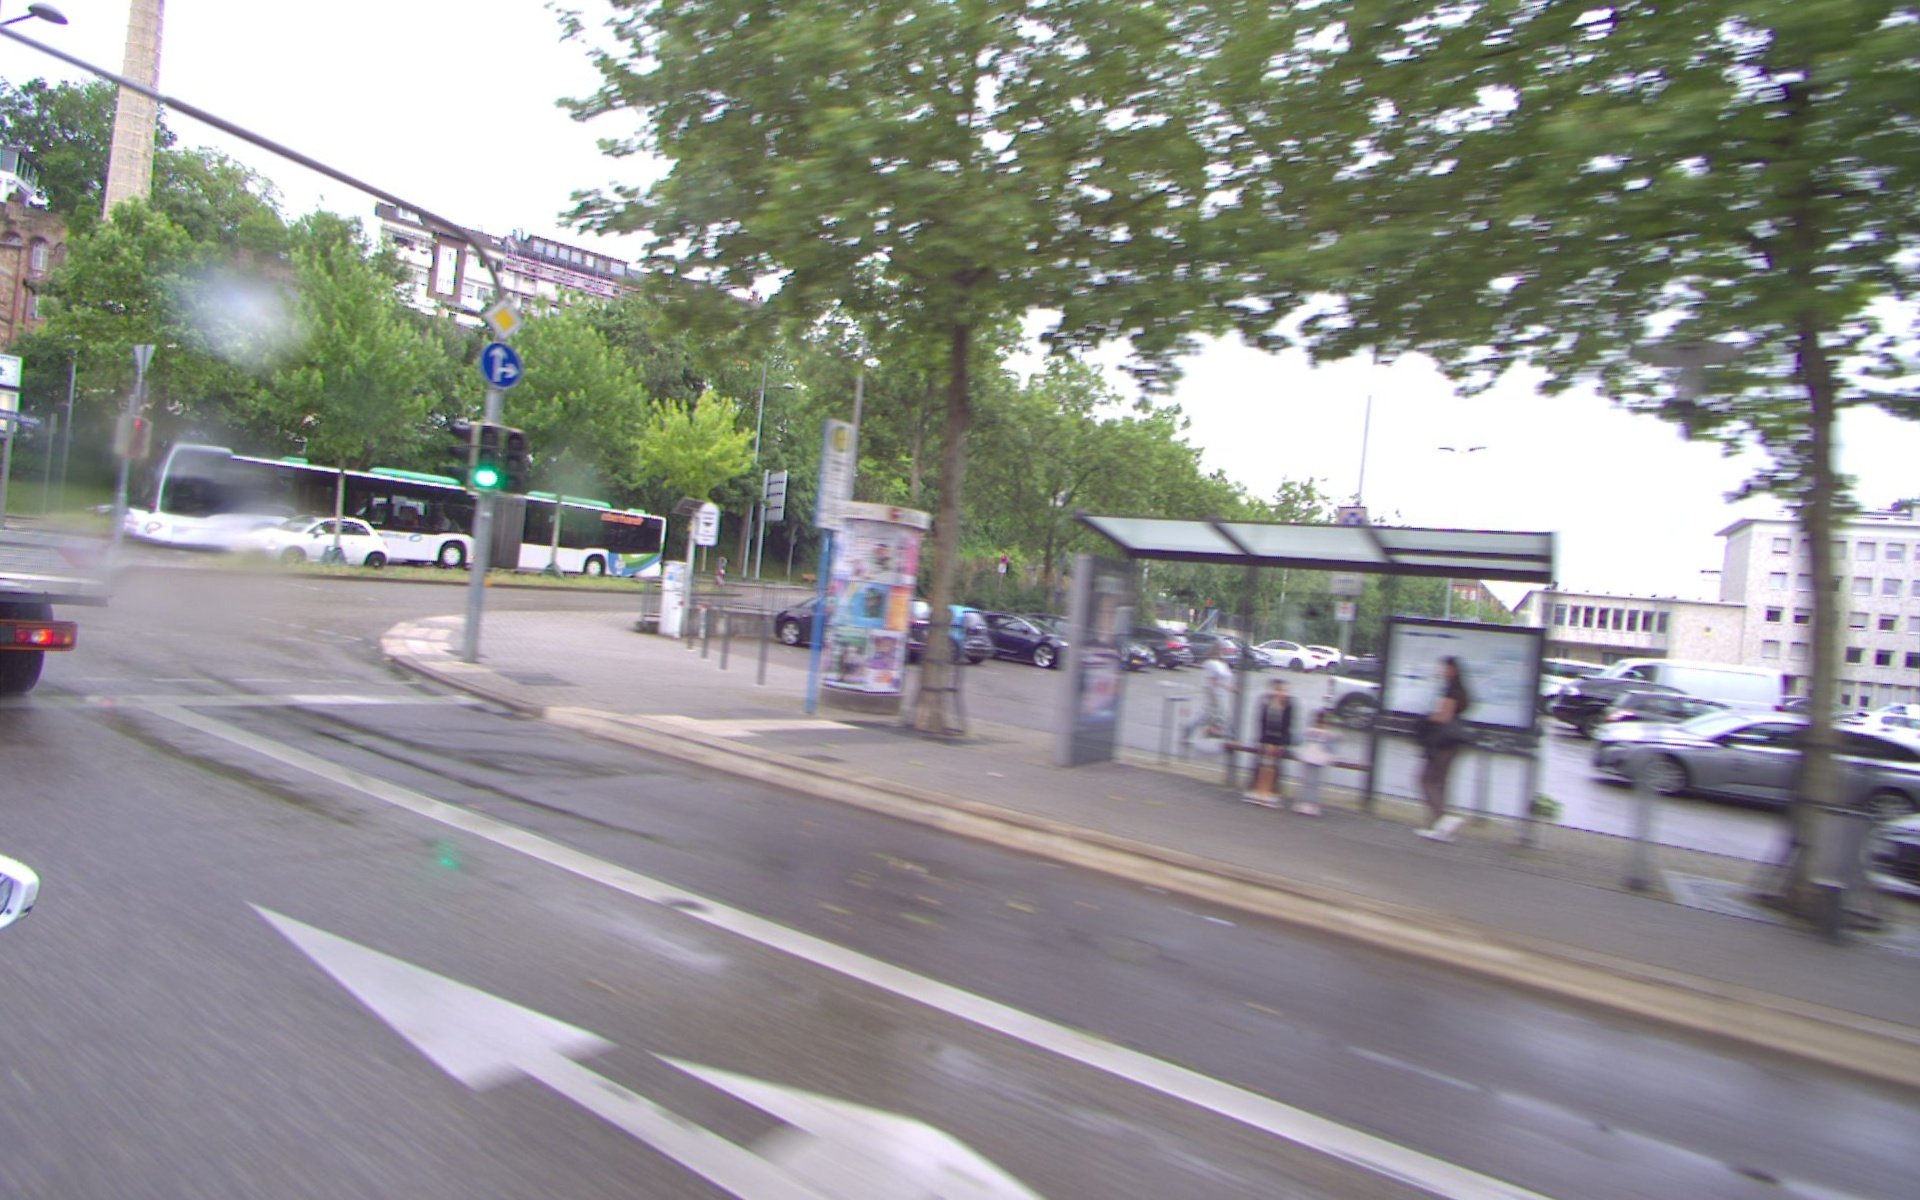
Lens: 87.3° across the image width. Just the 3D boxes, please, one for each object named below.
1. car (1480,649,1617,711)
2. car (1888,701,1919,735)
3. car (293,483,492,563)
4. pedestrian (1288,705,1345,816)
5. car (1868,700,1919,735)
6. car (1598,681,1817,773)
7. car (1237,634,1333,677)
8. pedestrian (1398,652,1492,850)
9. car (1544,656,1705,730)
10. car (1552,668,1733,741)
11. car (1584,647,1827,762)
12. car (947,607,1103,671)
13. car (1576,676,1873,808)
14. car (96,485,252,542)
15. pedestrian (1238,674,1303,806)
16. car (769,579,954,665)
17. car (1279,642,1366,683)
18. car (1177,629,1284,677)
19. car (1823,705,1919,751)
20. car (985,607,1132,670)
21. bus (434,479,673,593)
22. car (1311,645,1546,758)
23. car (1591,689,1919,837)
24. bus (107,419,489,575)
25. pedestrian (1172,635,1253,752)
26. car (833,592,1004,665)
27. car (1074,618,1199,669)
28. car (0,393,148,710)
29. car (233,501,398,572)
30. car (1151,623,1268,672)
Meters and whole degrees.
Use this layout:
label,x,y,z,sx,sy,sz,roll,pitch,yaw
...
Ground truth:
label,x,y,z,sx,sy,sz,roll,pitch,yaw
car,31.617,4.250,54.303,5.936,2.390,2.229,7,1,26
car,45.579,5.618,45.831,4.430,1.441,1.639,5,-2,27
car,-21.798,-2.912,38.855,6.295,2.263,2.229,5,1,-42
pedestrian,3.628,1.616,10.234,0.364,1.047,0.401,7,1,31
car,48.362,6.018,50.397,3.861,1.565,1.639,5,-2,27
car,15.280,2.563,20.782,3.297,1.252,1.530,7,1,28
car,16.605,2.830,51.500,4.200,1.697,1.849,6,0,39
pedestrian,4.520,1.375,9.370,0.546,1.717,0.540,7,1,32
car,22.927,3.160,34.936,4.287,1.854,1.831,7,1,27
car,17.409,2.637,25.872,3.570,1.252,1.530,7,1,28
car,20.595,2.809,28.110,4.923,2.349,1.971,7,2,25
car,1.927,1.166,30.104,4.189,1.371,1.854,6,0,29
car,13.770,2.498,18.455,3.931,1.611,1.759,7,1,28
car,-26.694,-2.913,34.226,4.066,1.391,1.775,5,1,-42
pedestrian,3.242,1.443,10.499,0.395,1.287,0.499,7,1,31
car,-2.492,0.539,25.169,4.189,1.633,1.803,6,0,28
car,19.703,3.368,54.723,3.958,1.697,1.849,6,0,39
car,12.240,2.408,45.688,4.200,1.632,1.849,6,0,39
car,35.401,4.934,38.410,3.293,1.252,1.532,7,1,20
car,3.140,1.230,32.172,4.189,1.498,1.854,6,0,29
bus,-15.615,-2.354,39.481,2.643,3.219,8.543,8,0,31
car,9.644,2.017,20.878,4.104,1.611,1.759,7,1,28
car,12.614,2.480,15.731,4.367,1.459,1.736,7,1,28
bus,-20.172,-2.965,31.648,2.659,3.256,9.642,8,0,30
pedestrian,3.911,1.436,15.571,0.847,1.653,0.766,7,1,31
car,-1.140,0.767,27.365,4.189,1.458,1.854,6,0,29
car,6.669,1.653,38.152,4.189,1.415,1.854,6,0,29
car,-8.944,-0.546,7.843,5.448,2.114,2.106,5,-2,30
car,-18.248,-1.765,28.631,1.563,1.469,3.563,8,0,29
car,10.228,1.932,41.293,4.189,1.458,1.854,6,0,29
